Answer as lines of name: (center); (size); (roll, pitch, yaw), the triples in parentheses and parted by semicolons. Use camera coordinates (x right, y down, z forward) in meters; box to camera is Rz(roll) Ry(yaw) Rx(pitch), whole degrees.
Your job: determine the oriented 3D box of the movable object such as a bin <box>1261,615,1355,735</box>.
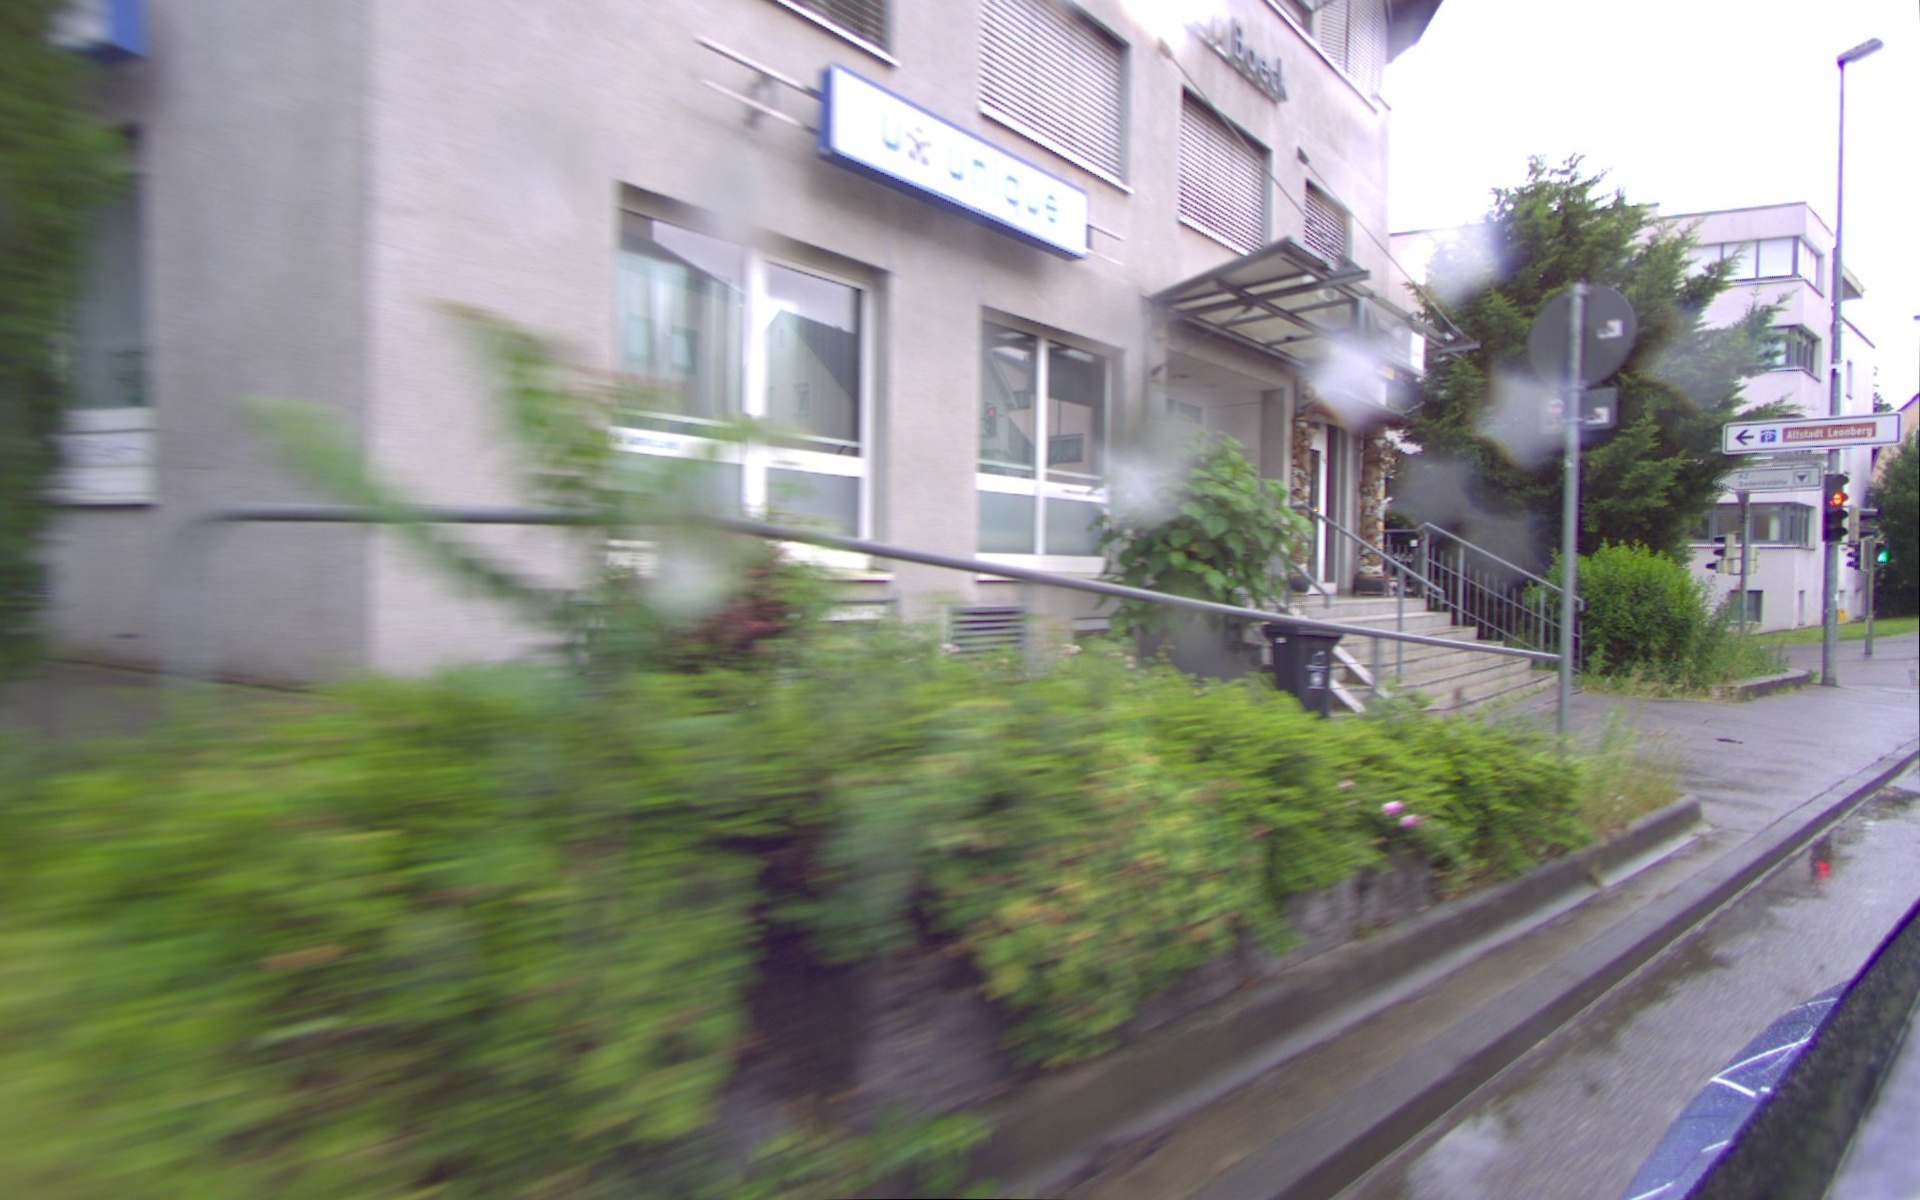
movable object such as a bin: (2.829, 0.602, 8.227); (0.482, 0.921, 0.484); (4, -2, -29)
